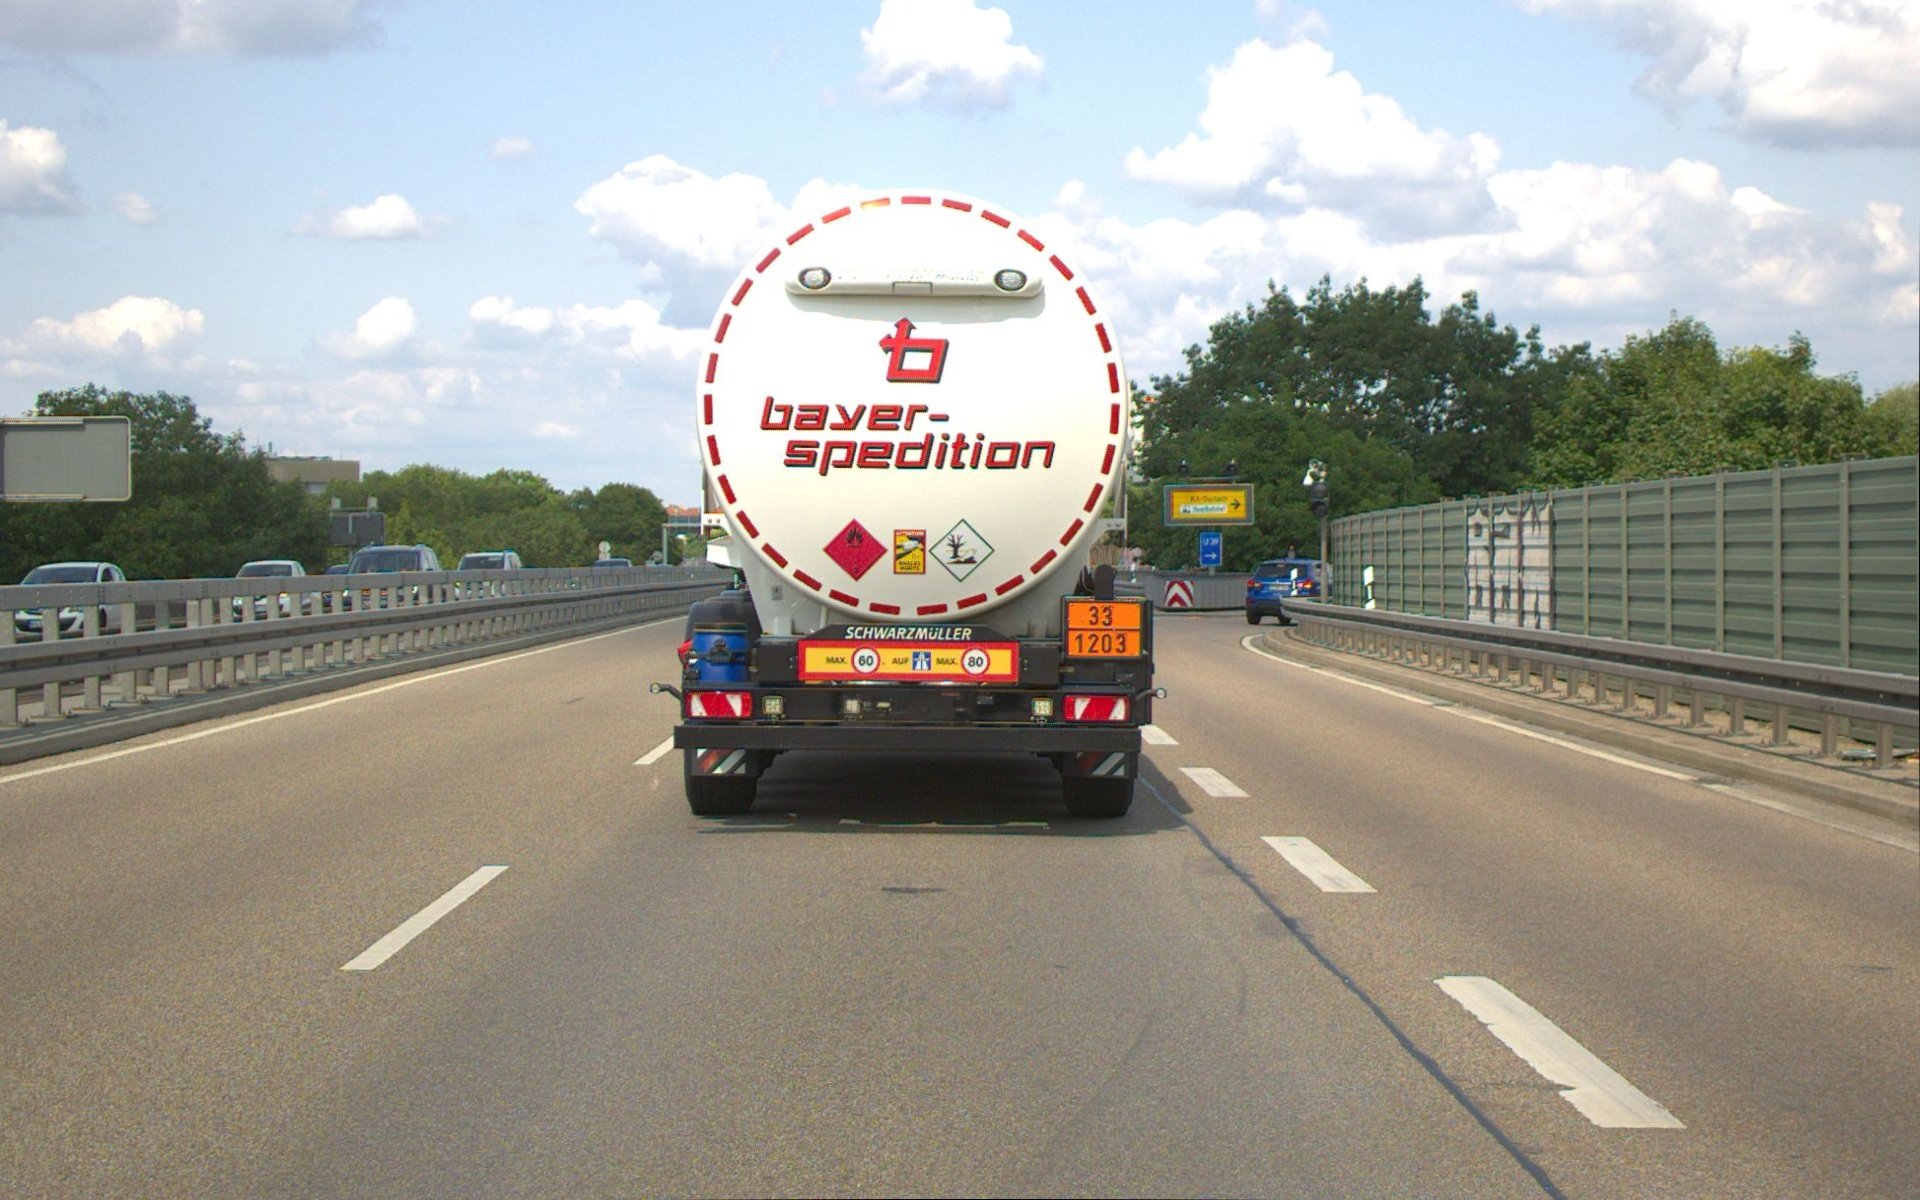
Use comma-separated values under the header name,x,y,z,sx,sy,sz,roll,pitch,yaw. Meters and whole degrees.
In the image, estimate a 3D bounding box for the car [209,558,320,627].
name,x,y,z,sx,sy,sz,roll,pitch,yaw
car,-16.748,-0.183,82.927,1.923,1.568,3.887,2,0,-1

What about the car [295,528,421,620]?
name,x,y,z,sx,sy,sz,roll,pitch,yaw
car,-12.142,-0.525,69.601,1.993,1.744,4.597,2,0,-4

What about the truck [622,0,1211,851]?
name,x,y,z,sx,sy,sz,roll,pitch,yaw
truck,-0.285,-0.957,21.683,2.895,4.354,8.030,2,0,-1

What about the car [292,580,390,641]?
name,x,y,z,sx,sy,sz,roll,pitch,yaw
car,-16.482,0.249,91.692,1.923,1.568,4.245,-1,0,-1

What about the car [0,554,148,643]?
name,x,y,z,sx,sy,sz,roll,pitch,yaw
car,-16.011,-0.040,62.053,1.782,1.503,3.960,2,0,-1

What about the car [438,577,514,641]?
name,x,y,z,sx,sy,sz,roll,pitch,yaw
car,-16.233,0.274,115.521,1.960,1.918,5.192,2,1,-3

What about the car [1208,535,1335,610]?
name,x,y,z,sx,sy,sz,roll,pitch,yaw
car,7.614,-0.654,83.764,1.996,1.700,3.995,2,0,21
